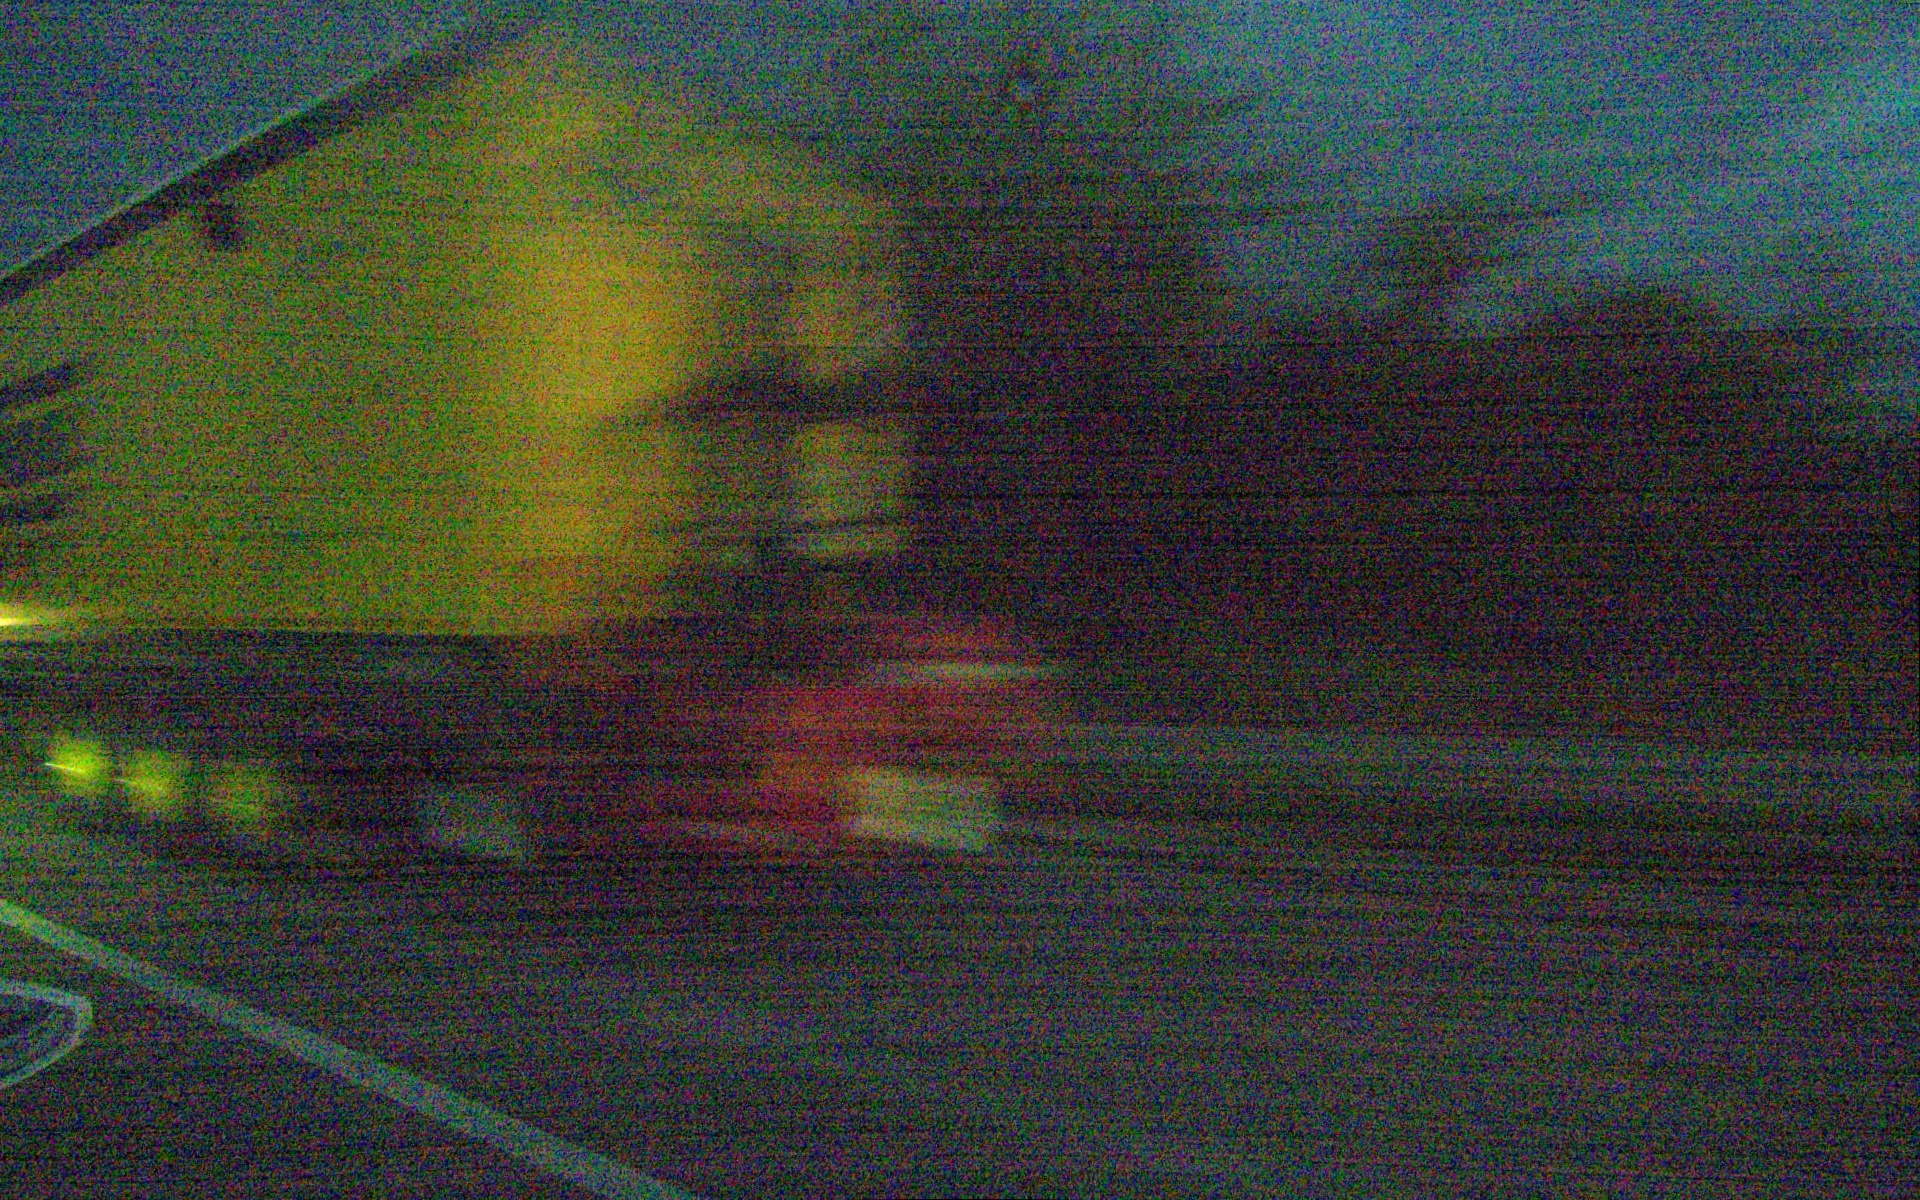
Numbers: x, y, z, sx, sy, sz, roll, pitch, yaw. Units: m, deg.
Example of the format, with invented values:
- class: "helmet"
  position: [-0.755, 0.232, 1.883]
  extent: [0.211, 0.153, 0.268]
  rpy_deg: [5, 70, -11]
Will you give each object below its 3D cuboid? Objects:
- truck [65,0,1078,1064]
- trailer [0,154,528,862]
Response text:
- class: "truck"
  position: [-2.596, -0.510, 6.006]
  extent: [6.041, 4.124, 2.575]
  rpy_deg: [0, -1, 32]
- class: "trailer"
  position: [-9.593, -0.462, 10.438]
  extent: [12.752, 4.158, 2.616]
  rpy_deg: [-1, 0, 33]
